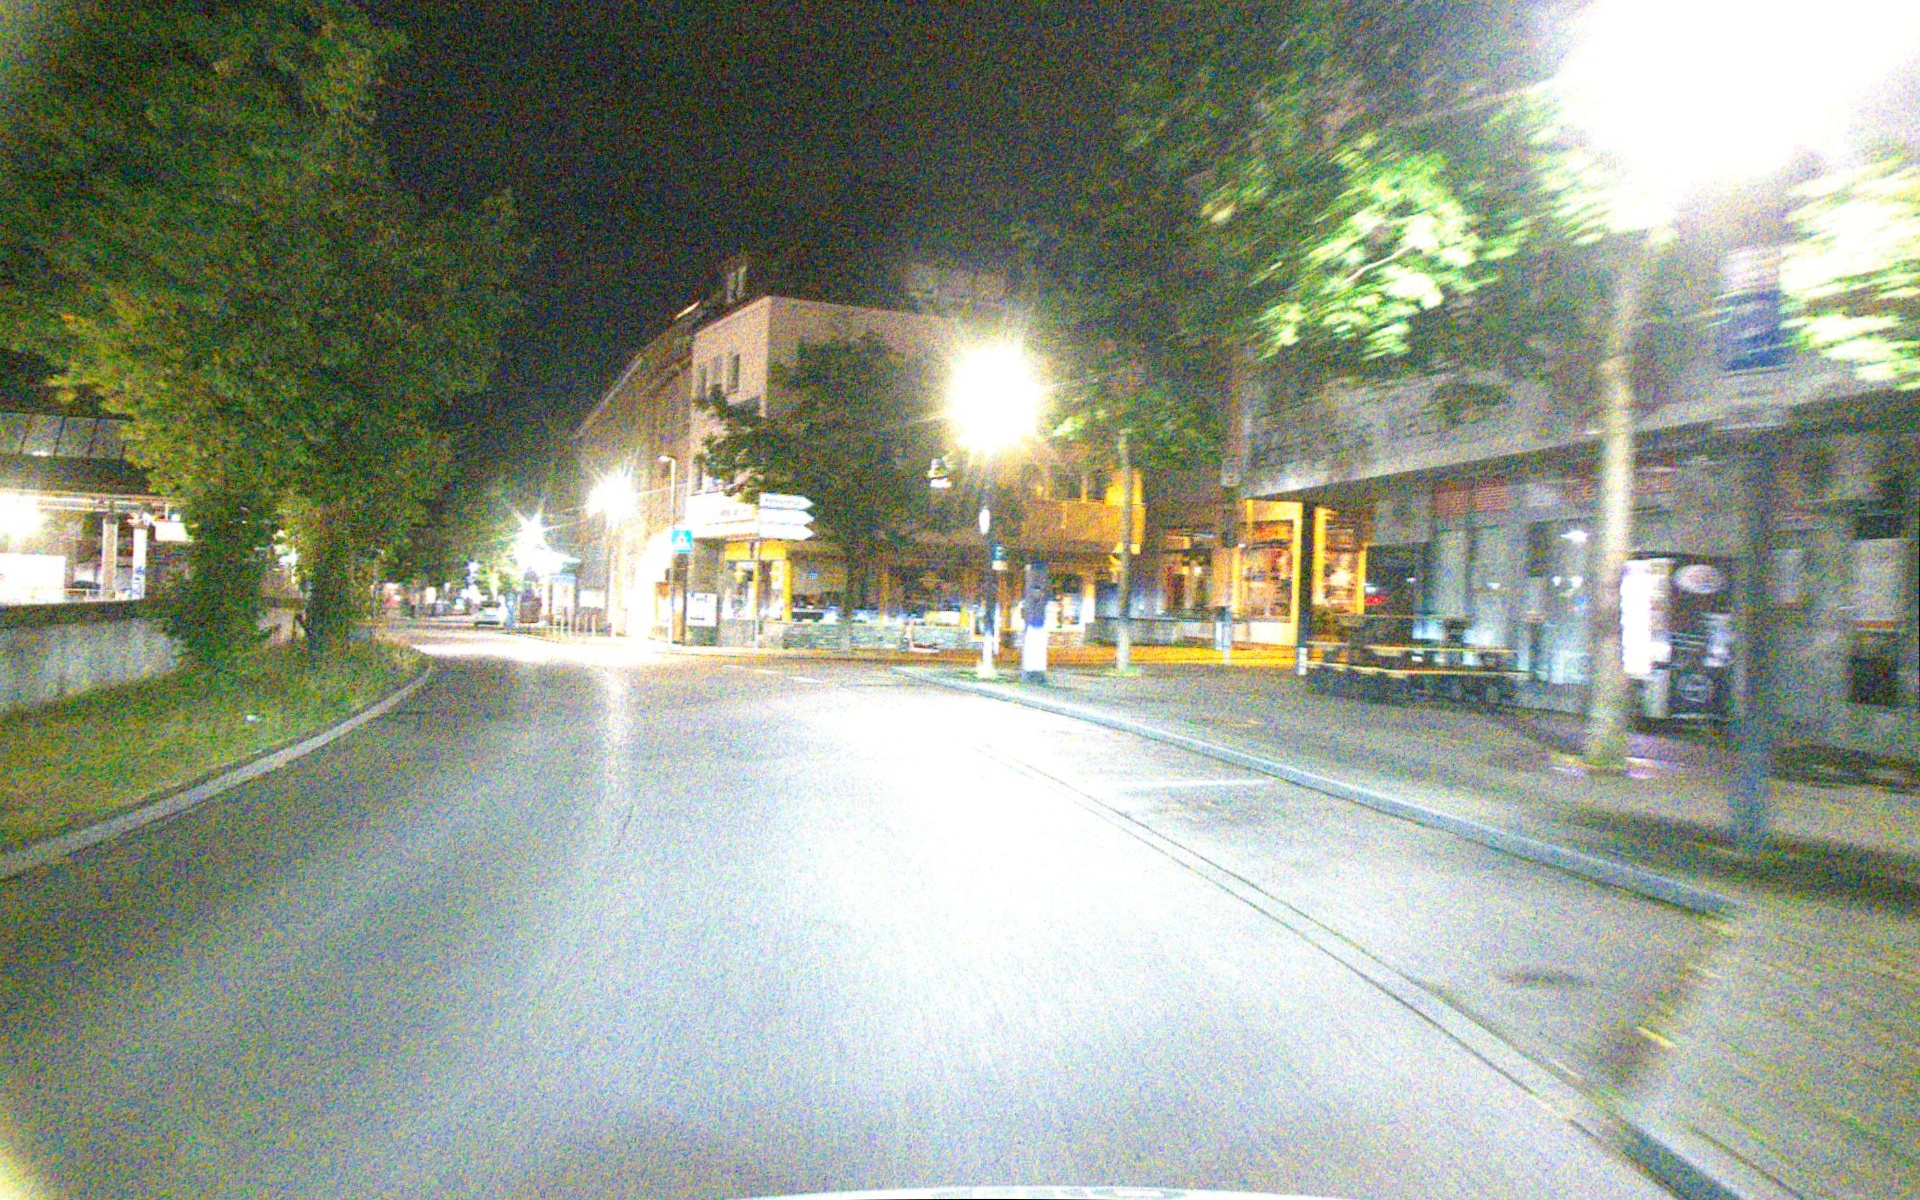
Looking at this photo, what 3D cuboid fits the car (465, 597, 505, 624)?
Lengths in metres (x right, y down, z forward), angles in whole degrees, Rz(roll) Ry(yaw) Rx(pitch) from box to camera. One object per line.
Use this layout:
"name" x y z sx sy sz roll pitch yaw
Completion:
"car" -26.853 0.591 93.432 1.808 1.382 3.973 -1 1 -22

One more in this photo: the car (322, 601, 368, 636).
"car" -26.930 0.812 72.419 1.808 1.478 3.974 -1 0 -22

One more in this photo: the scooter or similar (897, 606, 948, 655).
"scooter or similar" -1.006 0.811 44.072 1.225 1.248 0.596 2 1 -15
